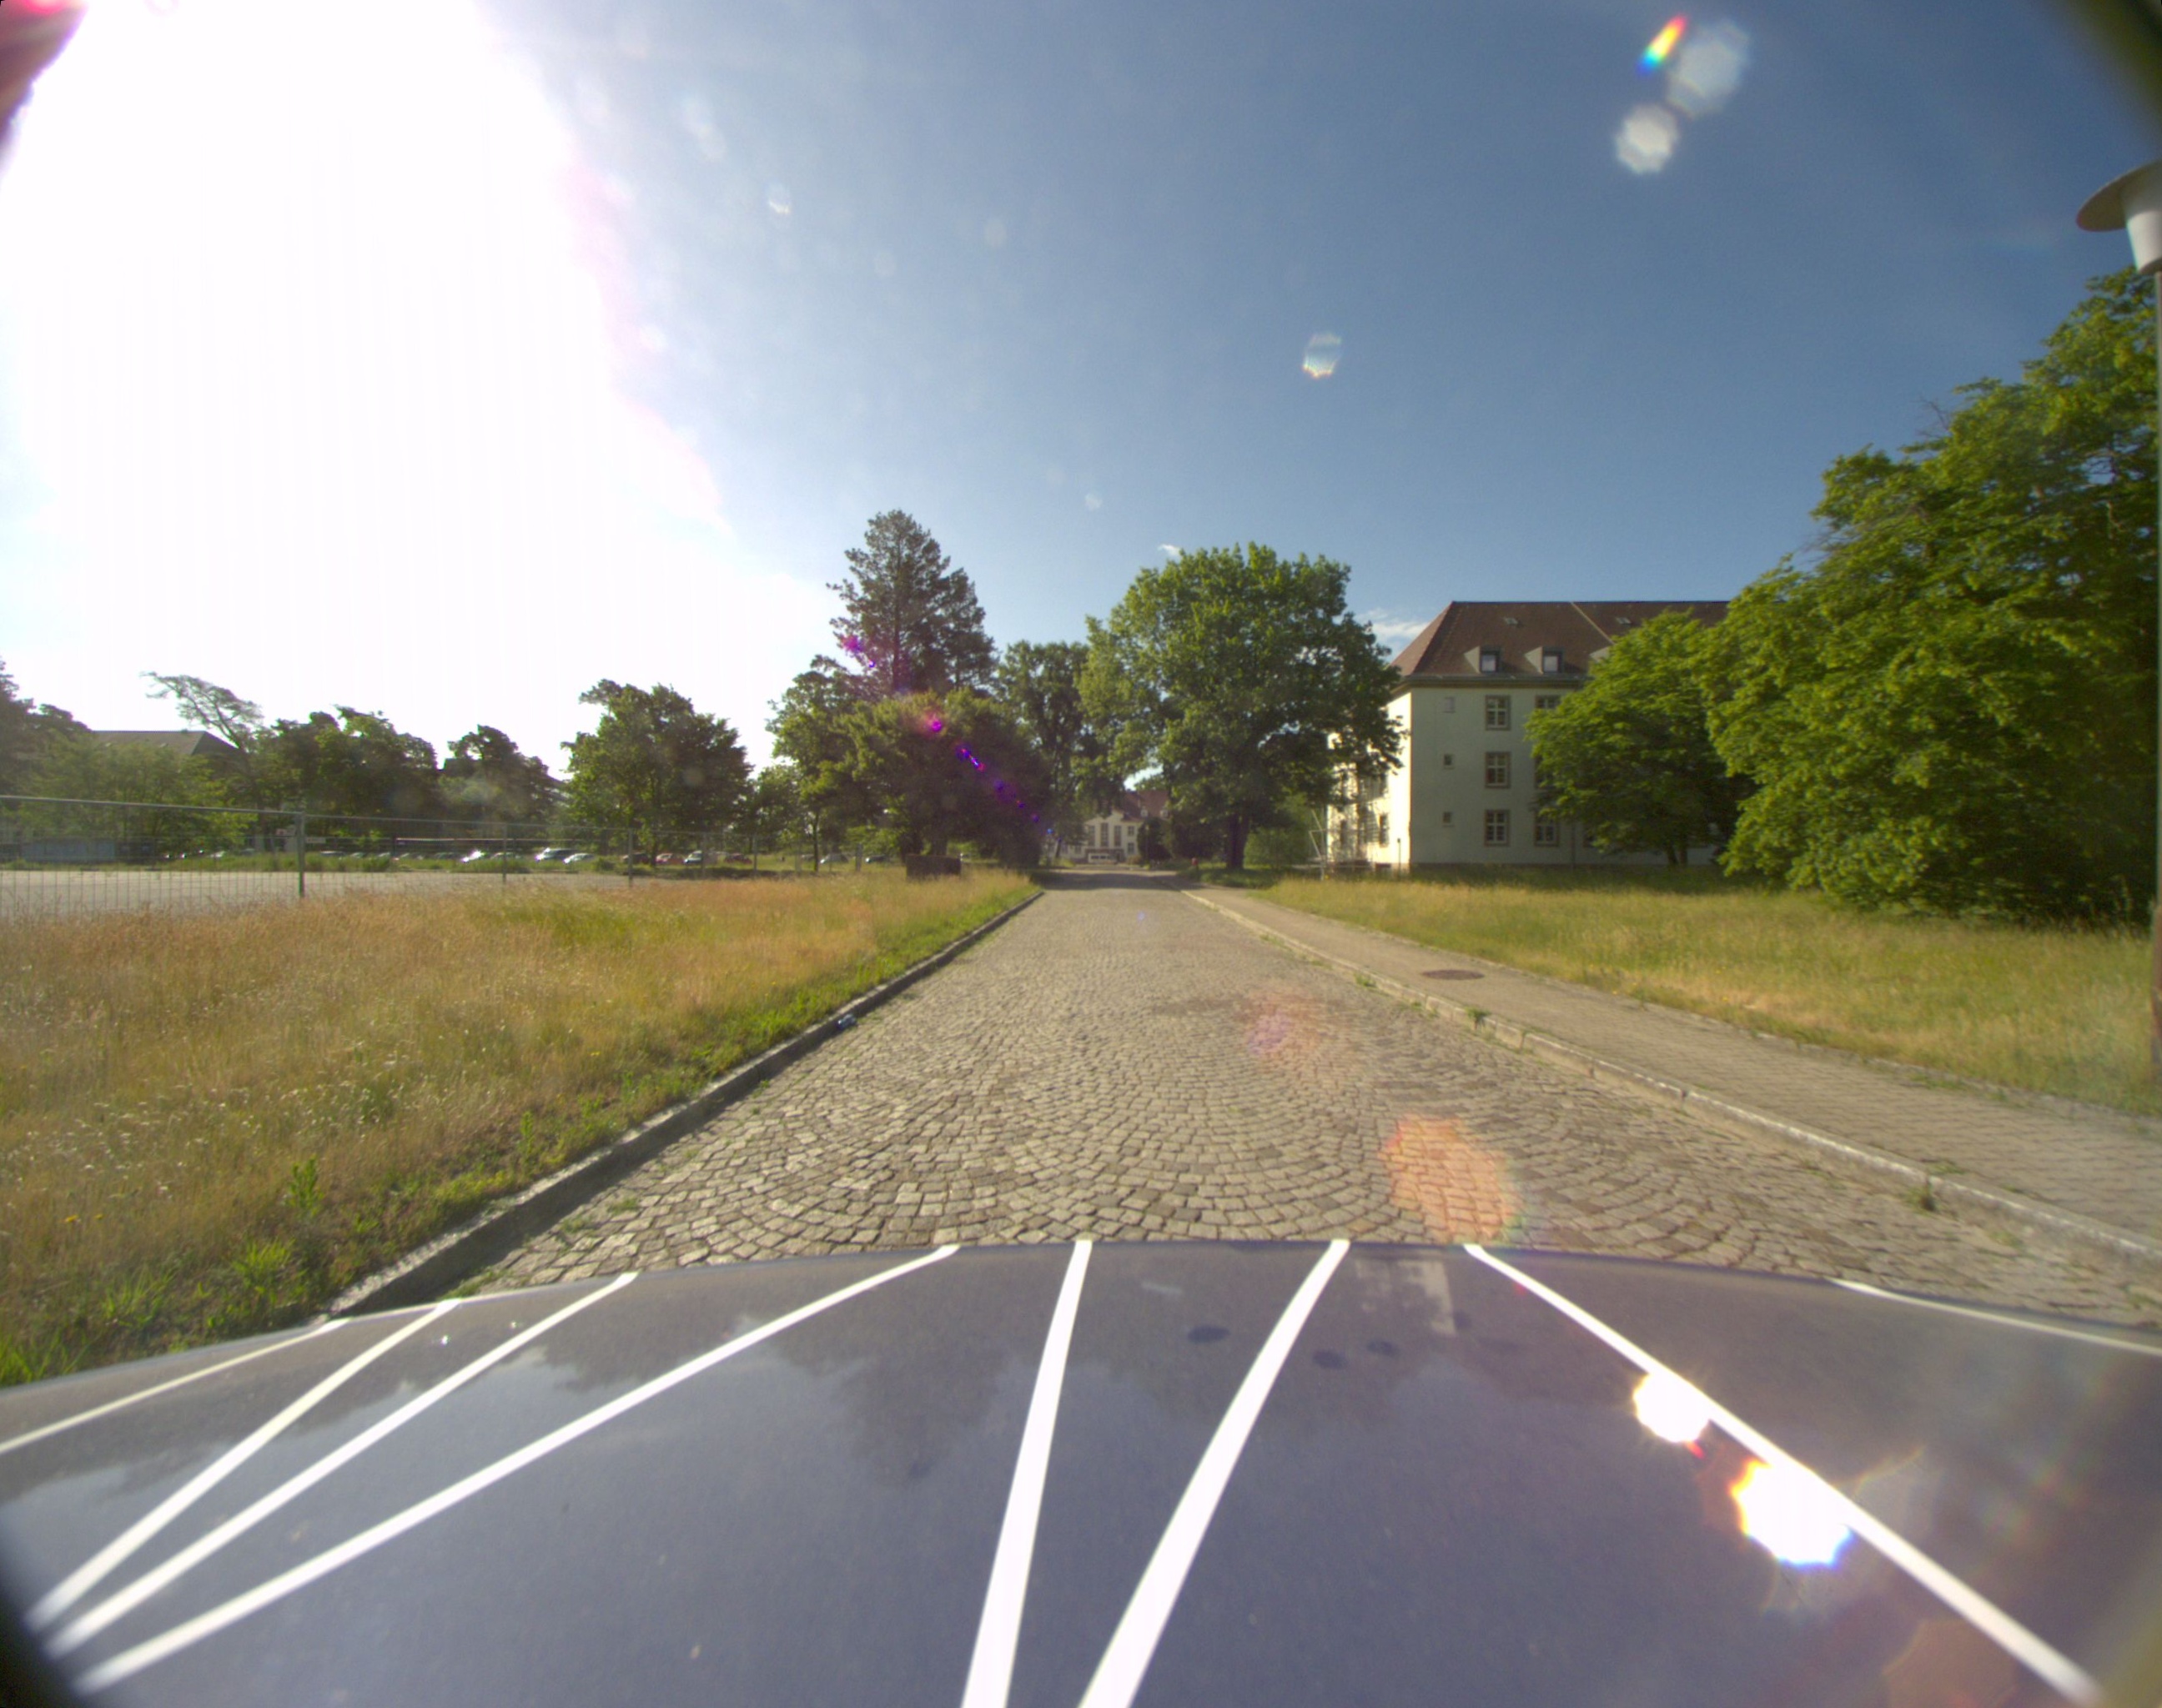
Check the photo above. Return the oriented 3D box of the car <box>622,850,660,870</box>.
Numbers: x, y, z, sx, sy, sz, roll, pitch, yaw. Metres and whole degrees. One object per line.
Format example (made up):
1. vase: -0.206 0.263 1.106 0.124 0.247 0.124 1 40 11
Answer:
1. car: -45.843 0.583 79.256 1.741 2.002 3.619 1 0 1

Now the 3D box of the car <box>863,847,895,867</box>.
1. car: -20.831 0.335 78.522 2.246 2.002 4.348 1 0 -2

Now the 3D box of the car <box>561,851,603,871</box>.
1. car: -52.050 0.715 79.363 1.741 2.002 3.851 1 0 1

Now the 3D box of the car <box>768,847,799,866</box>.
1. car: -31.342 0.249 80.156 1.741 2.002 3.619 1 0 1

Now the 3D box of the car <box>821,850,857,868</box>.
1. car: -25.098 0.502 78.895 2.245 1.828 4.350 1 0 2

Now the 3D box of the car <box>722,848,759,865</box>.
1. car: -35.481 0.261 79.372 1.998 1.642 4.000 1 0 1

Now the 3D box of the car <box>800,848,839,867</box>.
1. car: -27.436 0.348 79.774 2.244 1.828 4.351 1 0 6

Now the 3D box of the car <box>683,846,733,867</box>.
1. car: -39.241 0.252 80.169 1.998 2.002 6.033 -1 2 2

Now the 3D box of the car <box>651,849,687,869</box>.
1. car: -43.030 0.516 79.511 1.741 2.002 3.619 1 0 1

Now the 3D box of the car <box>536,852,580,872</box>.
1. car: -54.510 0.770 79.297 1.741 2.002 3.852 1 0 3

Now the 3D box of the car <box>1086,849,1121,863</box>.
1. car: 4.265 0.336 141.616 6.444 2.452 2.463 1 1 2

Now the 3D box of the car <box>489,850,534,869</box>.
1. car: -59.810 0.573 79.871 1.741 2.002 3.852 1 0 3
